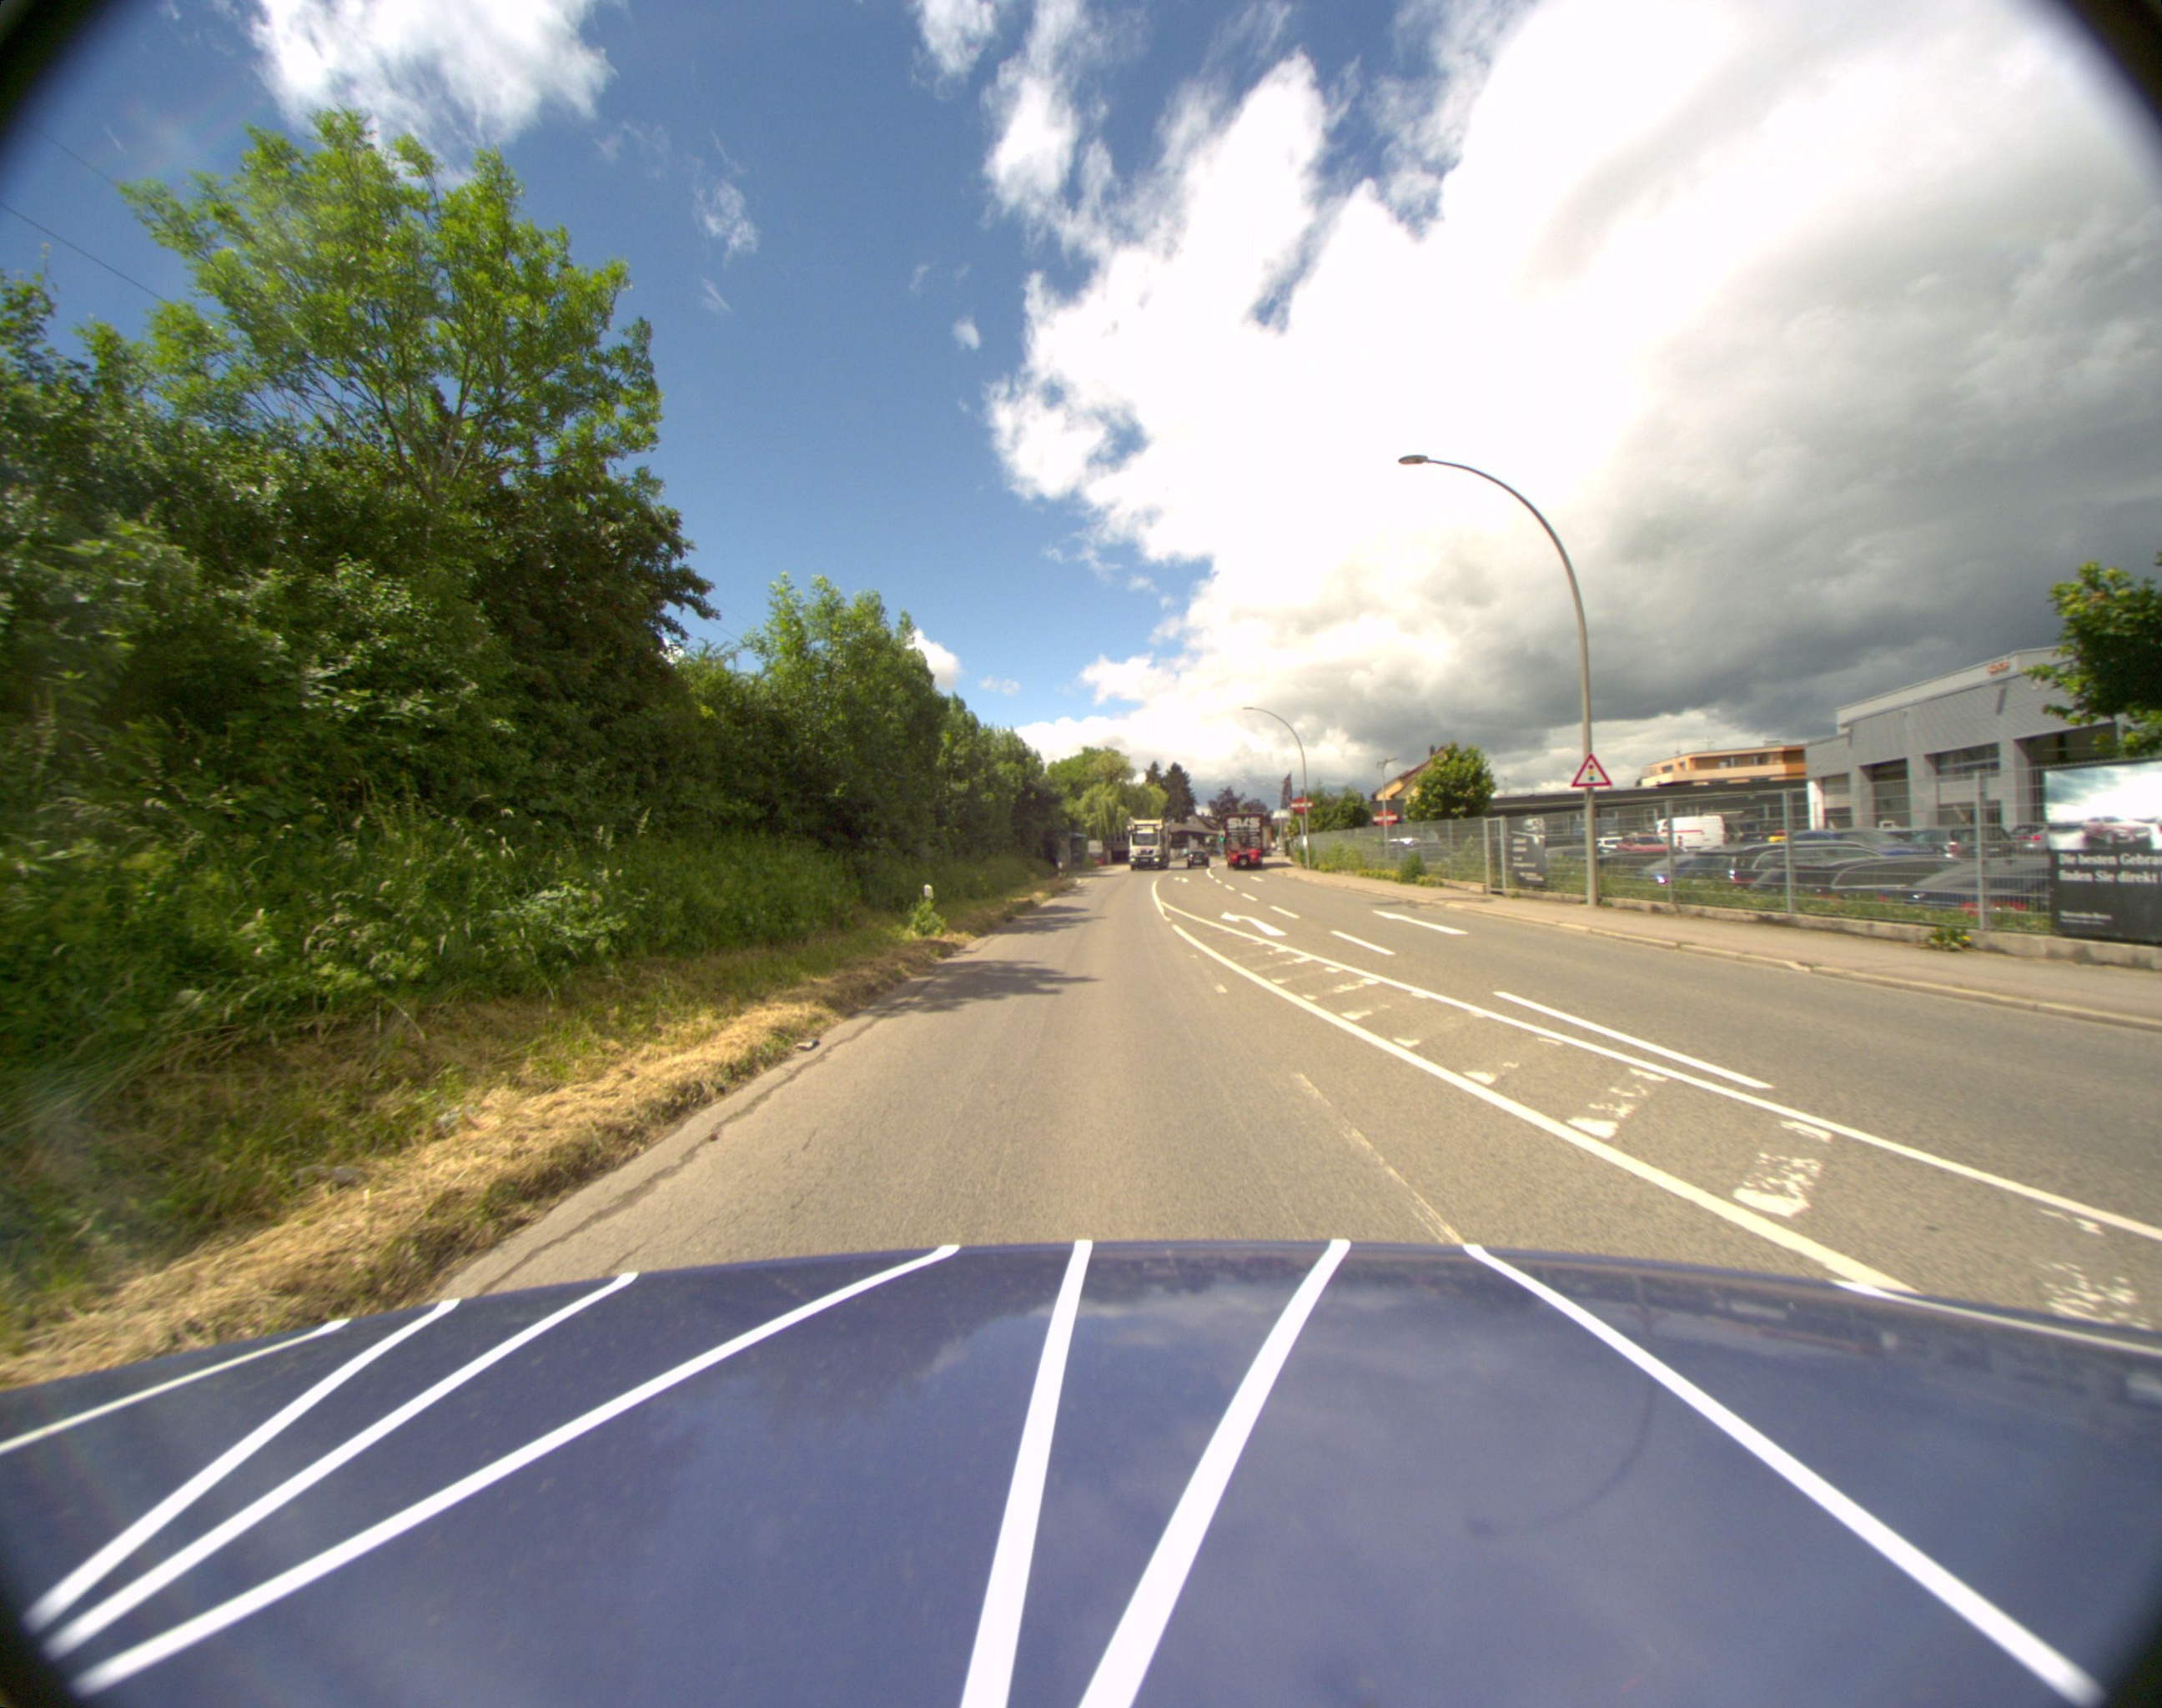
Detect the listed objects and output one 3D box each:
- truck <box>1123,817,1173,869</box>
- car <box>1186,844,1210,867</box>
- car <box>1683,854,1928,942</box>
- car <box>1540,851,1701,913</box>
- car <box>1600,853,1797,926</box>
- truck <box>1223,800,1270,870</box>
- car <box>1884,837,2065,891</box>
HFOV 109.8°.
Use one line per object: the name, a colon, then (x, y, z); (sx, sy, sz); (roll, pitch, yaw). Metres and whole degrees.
truck: (5.489, -0.872, 60.439); (2.902, 3.746, 9.641); (-2, 1, 11)
car: (9.311, 0.074, 60.440); (1.799, 1.723, 4.002); (0, 1, 9)
car: (14.247, 0.836, 15.097); (3.263, 1.565, 1.582); (-2, 1, 4)
car: (14.816, 0.749, 20.997); (3.263, 1.565, 1.582); (-2, 1, 4)
car: (14.375, 0.798, 17.820); (3.263, 1.565, 1.582); (-2, 1, 4)
truck: (12.142, -1.367, 55.952); (2.978, 4.634, 8.185); (-2, 1, 12)
car: (25.760, 0.285, 22.006); (3.262, 1.443, 1.433); (-1, 1, 9)
